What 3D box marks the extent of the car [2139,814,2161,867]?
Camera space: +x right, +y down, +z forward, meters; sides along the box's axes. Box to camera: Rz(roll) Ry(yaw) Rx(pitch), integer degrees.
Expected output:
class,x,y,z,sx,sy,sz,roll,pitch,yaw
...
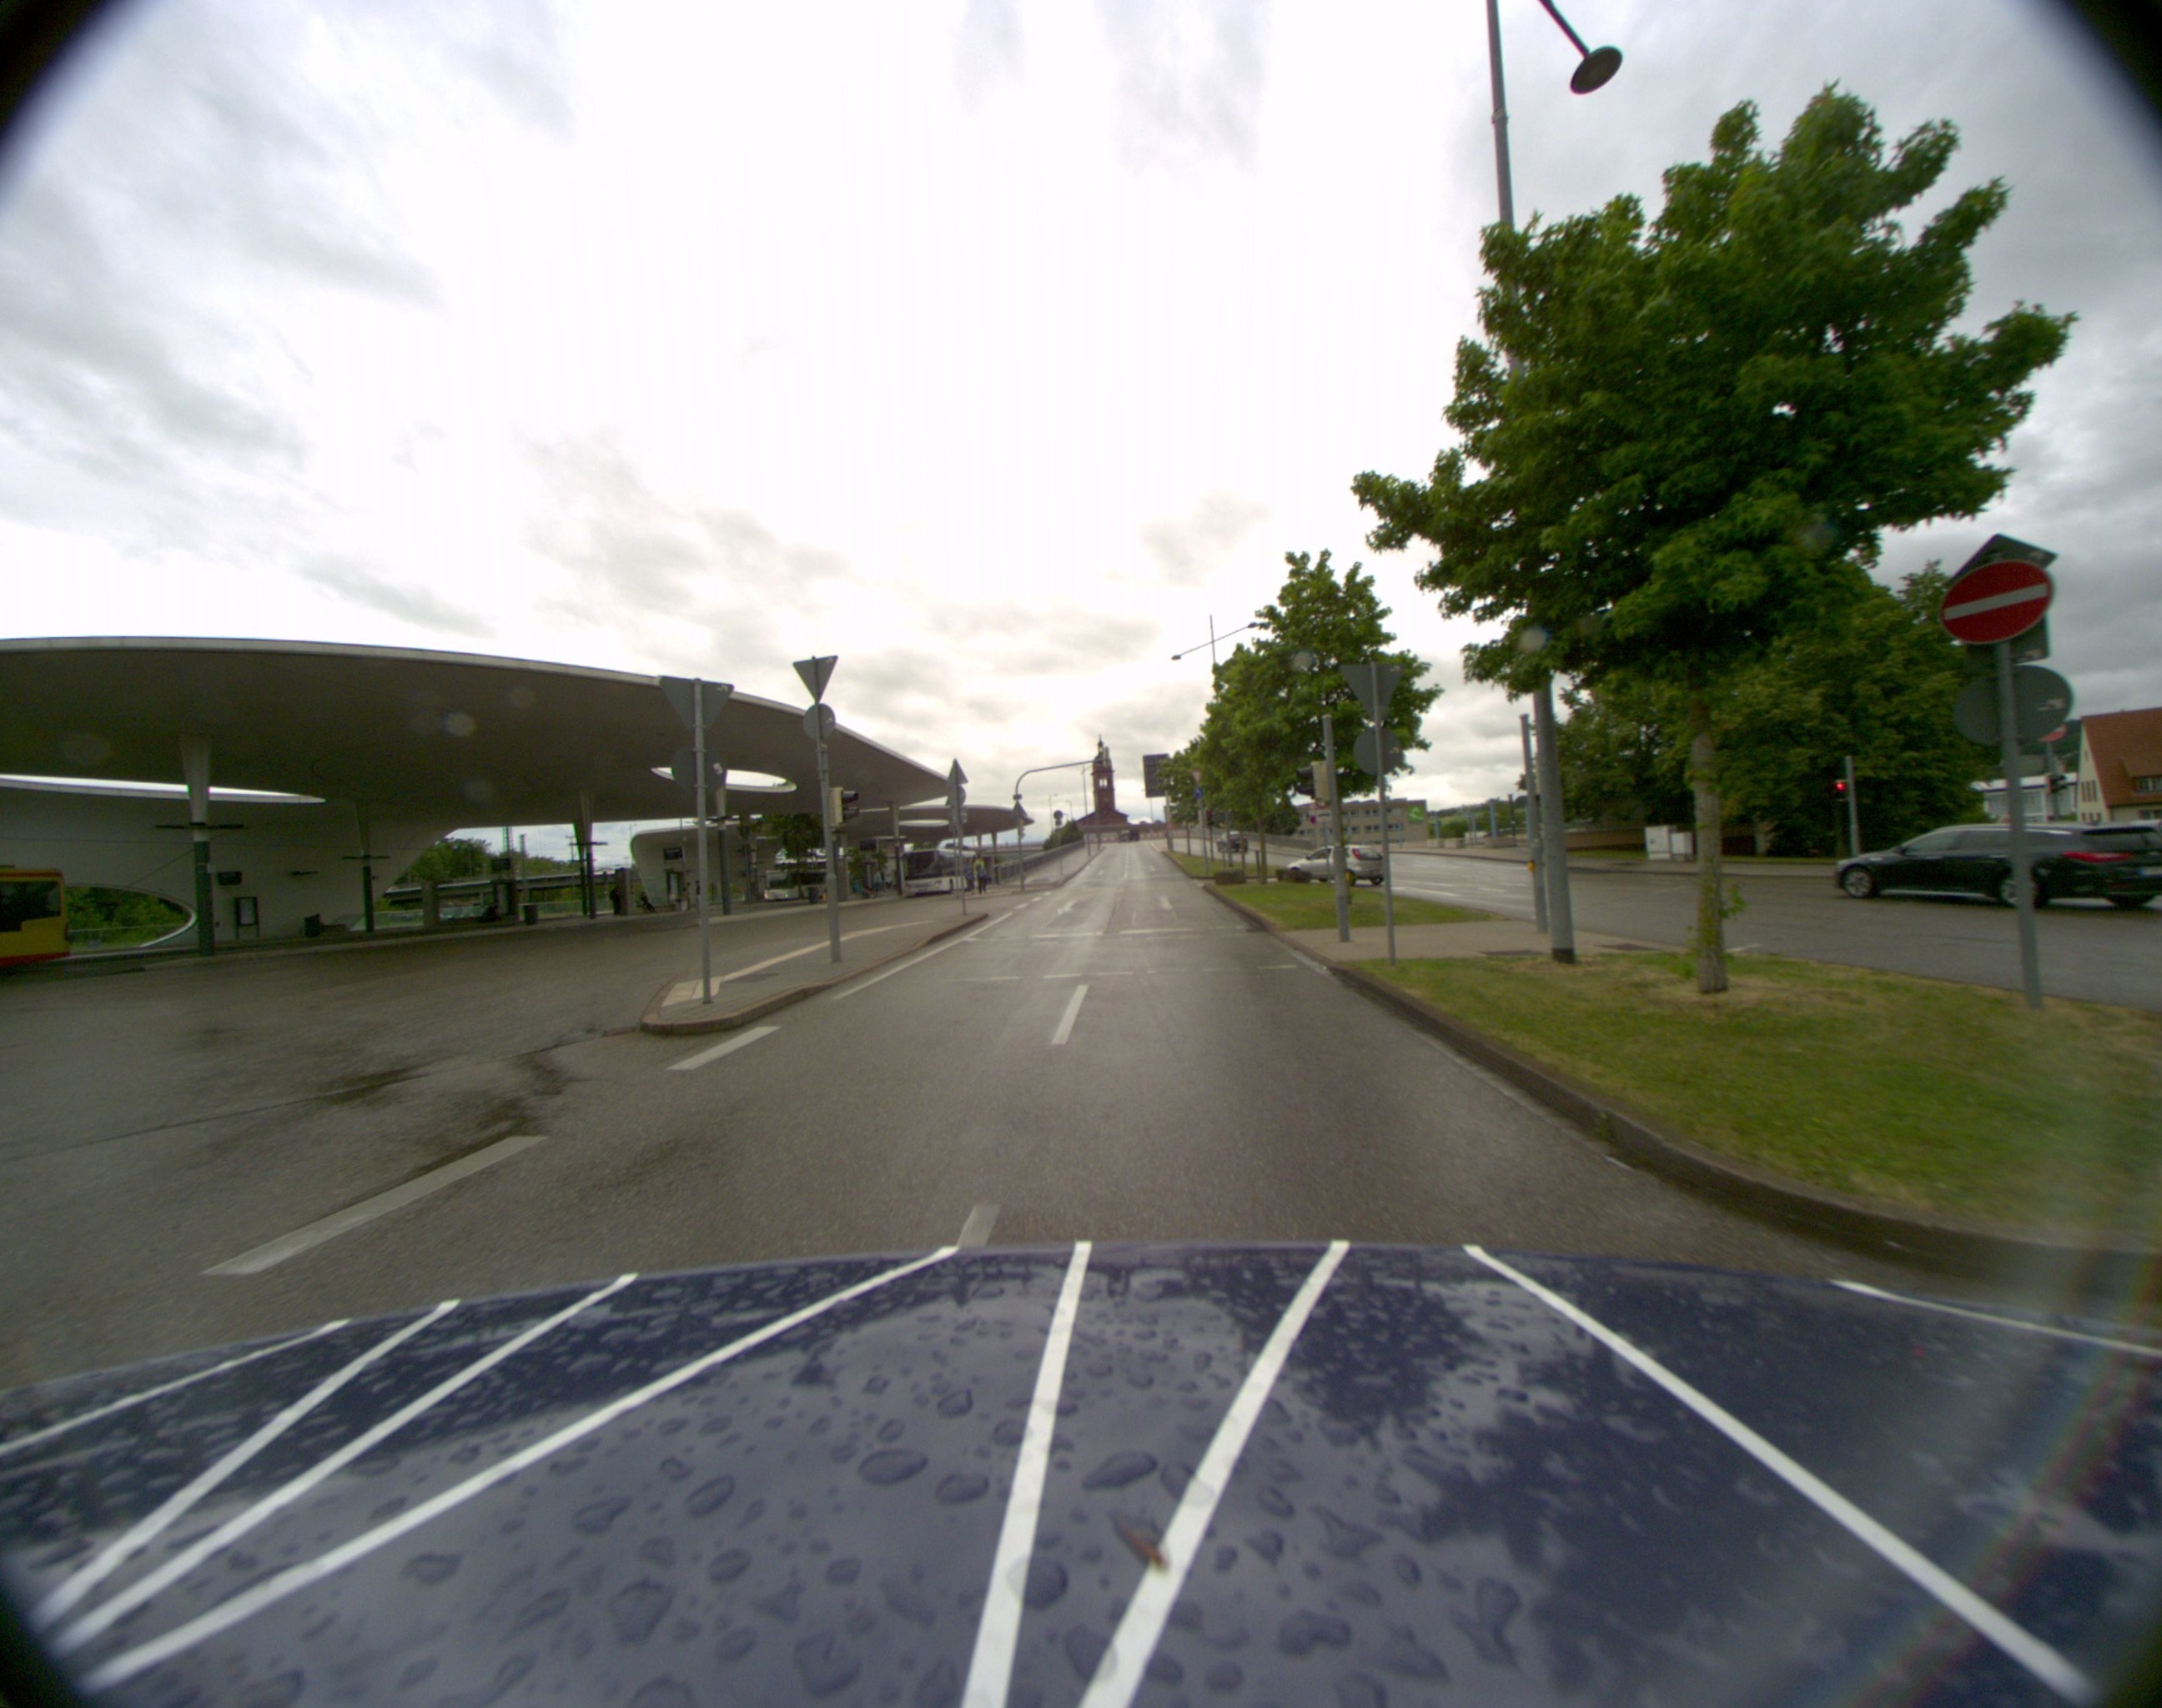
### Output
class,x,y,z,sx,sy,sz,roll,pitch,yaw
car,34.202,-0.485,23.143,4.149,1.558,1.883,-3,0,-41

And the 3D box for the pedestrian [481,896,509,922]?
class,x,y,z,sx,sy,sz,roll,pitch,yaw
pedestrian,-33.110,3.107,42.930,0.710,1.317,0.801,-6,3,12

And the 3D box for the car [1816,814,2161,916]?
class,x,y,z,sx,sy,sz,roll,pitch,yaw
car,16.711,0.155,13.996,1.851,1.495,4.921,-3,0,5

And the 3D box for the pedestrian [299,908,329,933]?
class,x,y,z,sx,sy,sz,roll,pitch,yaw
pedestrian,-44.098,3.816,43.701,0.711,1.317,0.801,-6,3,8

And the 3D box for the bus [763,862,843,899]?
class,x,y,z,sx,sy,sz,roll,pitch,yaw
bus,-28.297,2.581,78.194,2.794,3.238,12.144,-3,0,4

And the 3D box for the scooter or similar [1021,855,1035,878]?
class,x,y,z,sx,sy,sz,roll,pitch,yaw
scooter or similar,-2.858,0.652,40.916,0.464,1.214,1.860,-3,0,4

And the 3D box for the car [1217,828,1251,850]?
class,x,y,z,sx,sy,sz,roll,pitch,yaw
car,13.100,-1.310,65.319,1.913,1.653,4.856,-3,3,1

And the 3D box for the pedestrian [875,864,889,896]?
class,x,y,z,sx,sy,sz,roll,pitch,yaw
pedestrian,-12.112,1.587,46.223,0.585,1.875,0.650,-1,-2,14

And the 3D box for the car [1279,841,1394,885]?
class,x,y,z,sx,sy,sz,roll,pitch,yaw
car,9.298,0.315,27.915,1.639,1.440,3.867,-2,1,-30

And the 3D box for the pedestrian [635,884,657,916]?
class,x,y,z,sx,sy,sz,roll,pitch,yaw
pedestrian,-23.665,2.498,41.310,0.589,1.581,0.677,-7,3,0

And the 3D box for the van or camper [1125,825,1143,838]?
class,x,y,z,sx,sy,sz,roll,pitch,yaw
van or camper,8.874,-3.734,126.932,2.223,2.061,5.279,-2,3,-4

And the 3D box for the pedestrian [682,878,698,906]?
class,x,y,z,sx,sy,sz,roll,pitch,yaw
pedestrian,-23.405,2.251,45.486,0.570,1.645,0.557,-2,0,10

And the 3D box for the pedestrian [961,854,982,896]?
class,x,y,z,sx,sy,sz,roll,pitch,yaw
pedestrian,-4.603,0.865,32.017,0.590,1.662,0.580,-6,4,4

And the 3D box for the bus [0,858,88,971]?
class,x,y,z,sx,sy,sz,roll,pitch,yaw
bus,-32.704,1.817,17.657,2.795,3.238,12.143,-3,0,3

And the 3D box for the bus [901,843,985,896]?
class,x,y,z,sx,sy,sz,roll,pitch,yaw
bus,-9.655,1.005,55.105,2.851,3.342,12.429,-2,0,4

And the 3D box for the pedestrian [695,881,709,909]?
class,x,y,z,sx,sy,sz,roll,pitch,yaw
pedestrian,-23.165,2.513,46.433,0.644,1.645,0.638,-2,0,-36

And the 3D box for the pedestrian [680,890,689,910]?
class,x,y,z,sx,sy,sz,roll,pitch,yaw
pedestrian,-22.913,2.672,43.910,0.364,1.138,0.395,-3,0,-44

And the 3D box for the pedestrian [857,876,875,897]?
class,x,y,z,sx,sy,sz,roll,pitch,yaw
pedestrian,-12.951,1.943,45.778,0.954,1.247,0.648,0,-2,-19

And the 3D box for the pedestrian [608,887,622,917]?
class,x,y,z,sx,sy,sz,roll,pitch,yaw
pedestrian,-24.137,2.497,39.376,0.522,1.493,0.381,-3,0,-36

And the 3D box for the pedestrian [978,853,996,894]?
class,x,y,z,sx,sy,sz,roll,pitch,yaw
pedestrian,-3.957,0.811,32.030,0.523,1.661,0.580,-4,3,4

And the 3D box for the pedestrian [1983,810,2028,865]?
class,x,y,z,sx,sy,sz,roll,pitch,yaw
pedestrian,27.020,-0.479,22.218,0.651,1.561,0.632,0,3,34

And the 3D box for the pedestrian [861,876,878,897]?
class,x,y,z,sx,sy,sz,roll,pitch,yaw
pedestrian,-12.965,1.978,46.512,0.954,1.247,0.648,0,-2,-19

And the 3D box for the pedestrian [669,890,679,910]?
class,x,y,z,sx,sy,sz,roll,pitch,yaw
pedestrian,-23.349,2.641,43.615,0.353,1.074,0.391,-3,0,-44
